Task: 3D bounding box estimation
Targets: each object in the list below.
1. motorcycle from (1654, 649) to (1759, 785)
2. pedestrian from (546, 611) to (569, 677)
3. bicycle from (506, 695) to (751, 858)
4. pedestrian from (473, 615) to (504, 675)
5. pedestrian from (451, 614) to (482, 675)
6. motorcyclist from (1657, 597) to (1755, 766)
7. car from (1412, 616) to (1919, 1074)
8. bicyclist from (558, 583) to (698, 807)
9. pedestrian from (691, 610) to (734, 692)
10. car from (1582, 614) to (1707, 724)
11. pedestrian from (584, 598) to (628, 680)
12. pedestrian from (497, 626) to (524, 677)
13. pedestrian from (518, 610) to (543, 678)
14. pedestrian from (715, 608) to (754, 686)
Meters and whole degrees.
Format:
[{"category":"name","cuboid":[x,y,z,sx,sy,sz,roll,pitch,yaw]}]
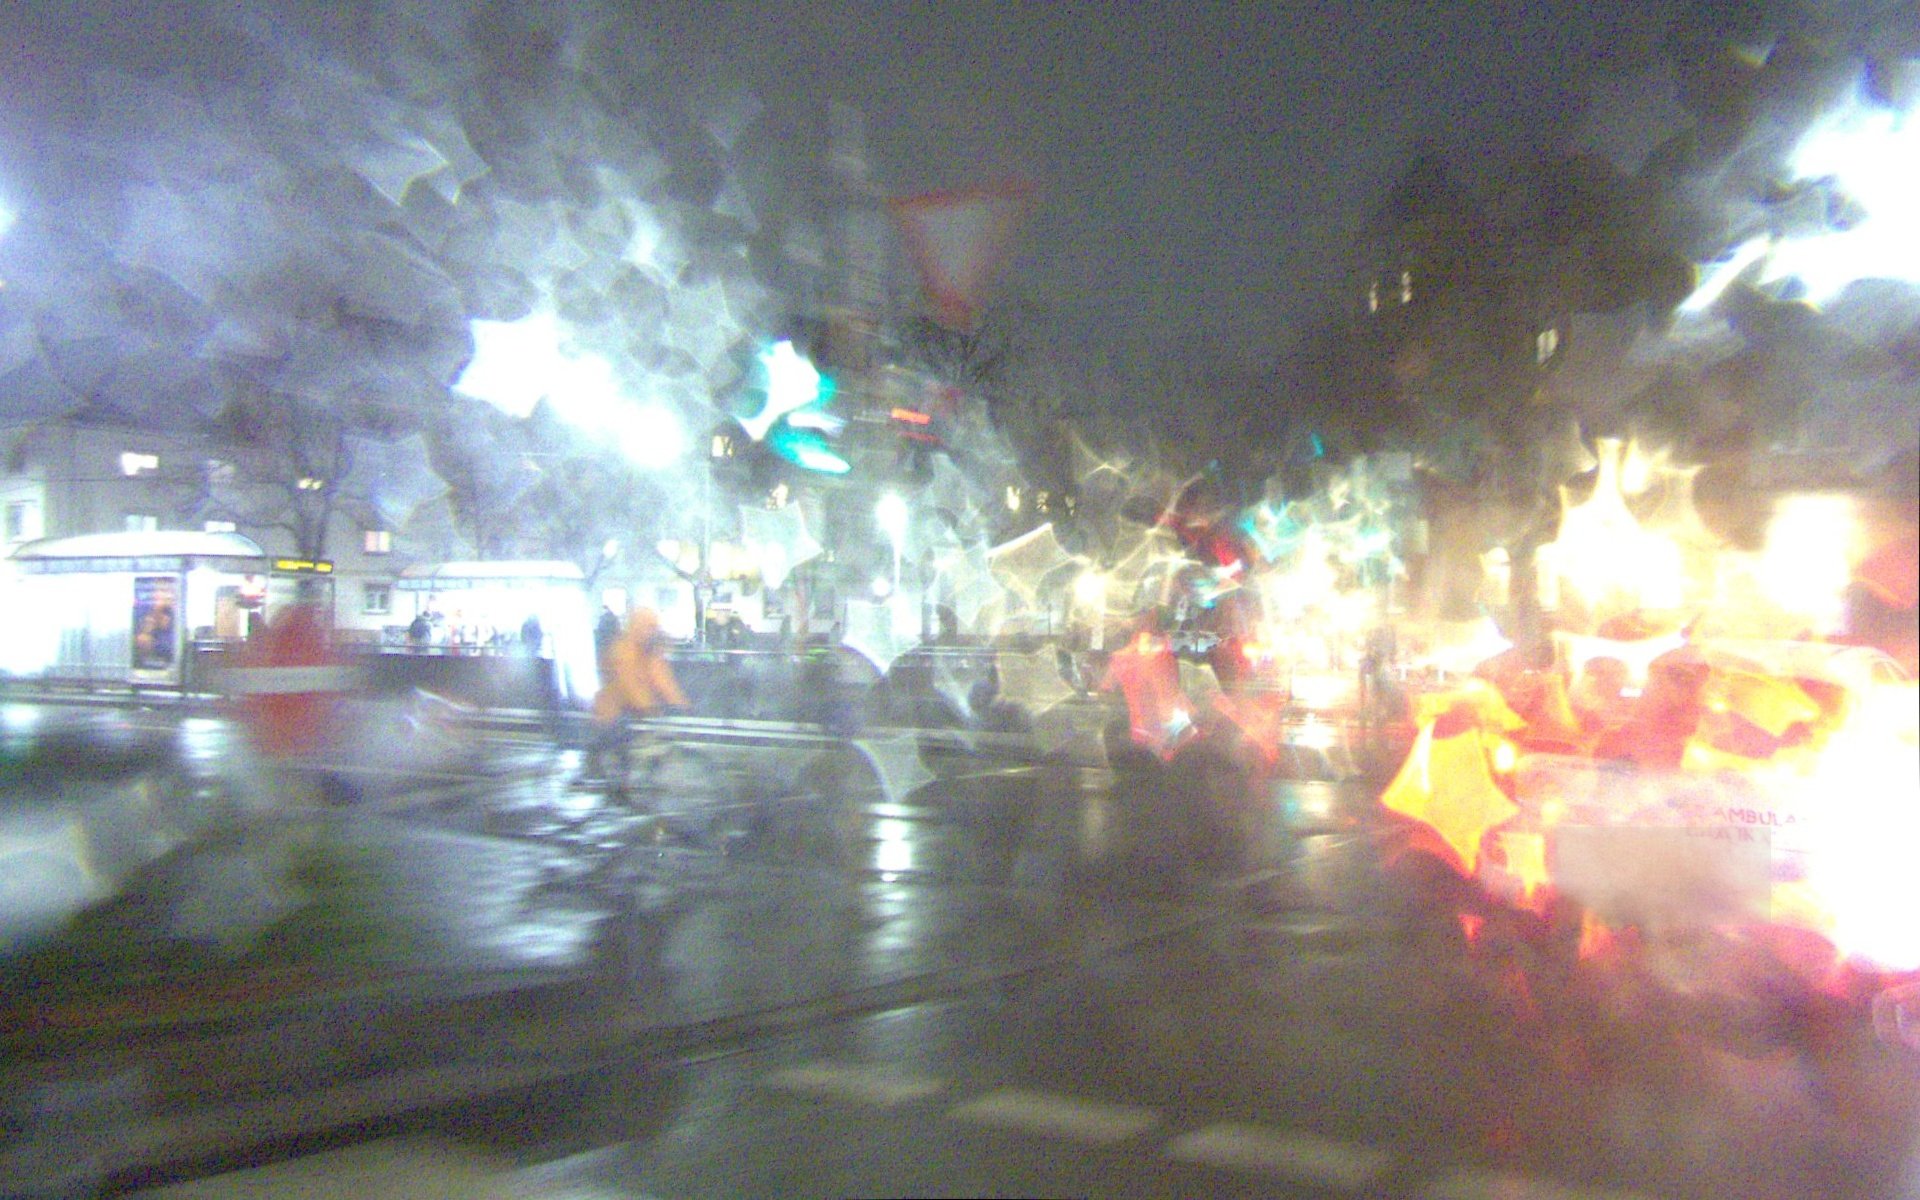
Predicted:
[{"category":"motorcycle","cuboid":[8.071,1.197,10.940,0.779,1.229,2.243,2,0,34]},{"category":"pedestrian","cuboid":[-10.260,1.114,25.614,0.525,1.651,0.398,0,2,-23]},{"category":"bicycle","cuboid":[-2.457,1.260,7.439,1.745,0.982,0.572,1,1,20]},{"category":"pedestrian","cuboid":[-12.471,1.178,26.559,0.574,1.549,0.480,1,2,3]},{"category":"pedestrian","cuboid":[-13.051,1.175,26.576,0.563,1.568,0.512,1,2,3]},{"category":"motorcyclist","cuboid":[8.043,0.840,10.864,0.779,1.717,0.817,2,0,34]},{"category":"car","cuboid":[4.108,0.876,5.272,3.570,1.536,1.902,0,0,-42]},{"category":"bicyclist","cuboid":[-2.450,0.660,7.432,0.800,1.569,0.572,1,1,20]},{"category":"pedestrian","cuboid":[-5.639,1.138,22.874,0.660,1.798,0.714,2,2,37]},{"category":"car","cuboid":[12.623,1.176,18.659,1.724,1.763,3.789,2,0,33]},{"category":"pedestrian","cuboid":[-8.933,0.972,25.345,0.842,2.013,0.609,1,2,18]},{"category":"pedestrian","cuboid":[-11.595,1.331,25.936,0.615,1.270,0.582,0,2,-23]},{"category":"pedestrian","cuboid":[-10.916,1.110,25.528,0.552,1.674,0.582,0,2,-22]},{"category":"pedestrian","cuboid":[-5.345,1.099,23.834,0.703,1.798,0.671,1,2,11]}]
